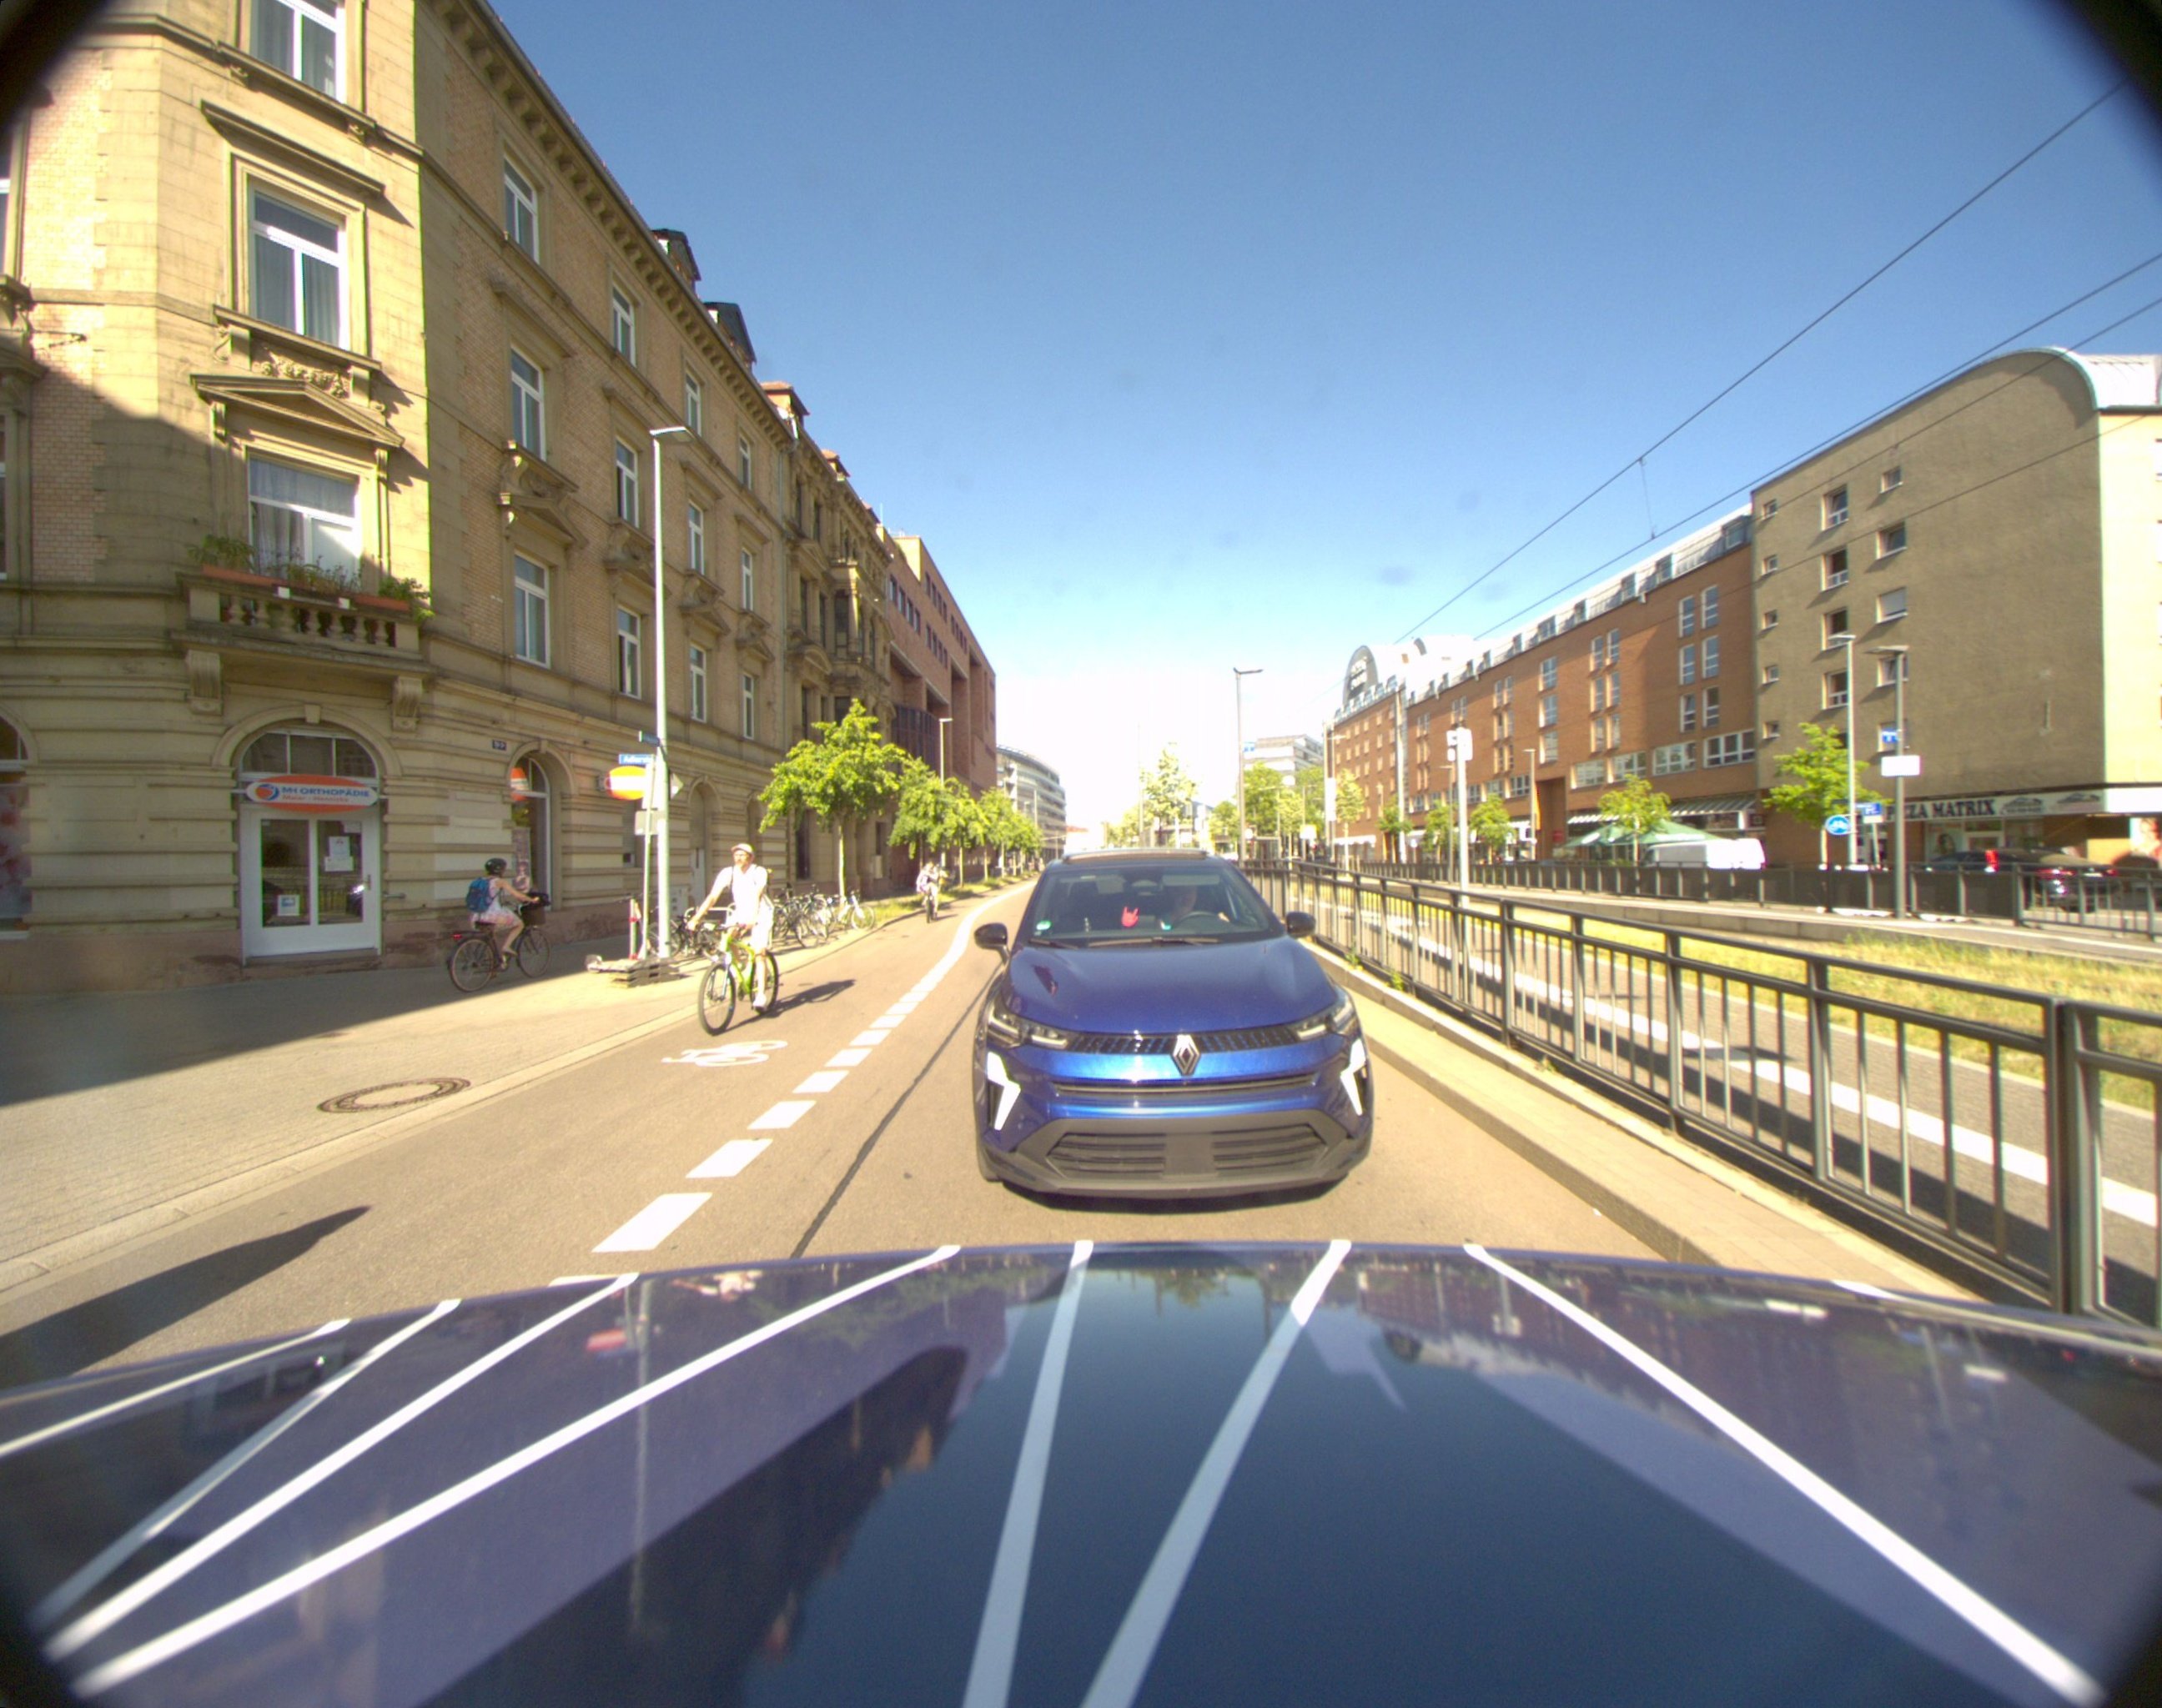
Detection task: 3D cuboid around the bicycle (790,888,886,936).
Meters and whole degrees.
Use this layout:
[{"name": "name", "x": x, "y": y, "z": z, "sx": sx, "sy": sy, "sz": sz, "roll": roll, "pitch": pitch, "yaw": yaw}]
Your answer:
[{"name": "bicycle", "x": -5.983, "y": 1.425, "z": 18.770, "sx": 2.062, "sy": 1.036, "sz": 0.847, "roll": 2, "pitch": 1, "yaw": 0}]

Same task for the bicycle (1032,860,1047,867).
[{"name": "bicycle", "x": -5.928, "y": 1.400, "z": 109.497, "sx": 2.042, "sy": 1.013, "sz": 0.646, "roll": -1, "pitch": 0, "yaw": 11}]

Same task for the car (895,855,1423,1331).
[{"name": "car", "x": 0.306, "y": 0.848, "z": 4.879, "sx": 1.758, "sy": 1.576, "sz": 4.420, "roll": -4, "pitch": 0, "yaw": 1}]

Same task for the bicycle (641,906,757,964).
[{"name": "bicycle", "x": -6.582, "y": 1.393, "z": 13.130, "sx": 1.717, "sy": 0.920, "sz": 0.497, "roll": -1, "pitch": 1, "yaw": 1}]

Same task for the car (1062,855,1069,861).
[{"name": "car", "x": -3.840, "y": 0.942, "z": 189.728, "sx": 1.745, "sy": 1.543, "sz": 4.000, "roll": -1, "pitch": 0, "yaw": 1}]

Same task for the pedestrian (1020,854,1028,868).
[{"name": "pedestrian", "x": -8.036, "y": 0.979, "z": 107.768, "sx": 0.880, "sy": 2.002, "sz": 0.764, "roll": -1, "pitch": 1, "yaw": 22}]

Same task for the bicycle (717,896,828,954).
[{"name": "bicycle", "x": -5.938, "y": 1.365, "z": 14.708, "sx": 1.876, "sy": 1.043, "sz": 0.608, "roll": 1, "pitch": 1, "yaw": -4}]

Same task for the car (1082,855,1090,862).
[{"name": "car", "x": 1.229, "y": 1.068, "z": 172.413, "sx": 1.745, "sy": 1.543, "sz": 4.000, "roll": -1, "pitch": 0, "yaw": 1}]

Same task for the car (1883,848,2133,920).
[{"name": "car", "x": 24.213, "y": 0.702, "z": 20.106, "sx": 1.699, "sy": 1.630, "sz": 3.999, "roll": -2, "pitch": 1, "yaw": -1}]

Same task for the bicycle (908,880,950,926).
[{"name": "bicycle", "x": -4.361, "y": 1.379, "z": 21.919, "sx": 0.725, "sy": 1.187, "sz": 1.952, "roll": -2, "pitch": 0, "yaw": 1}]

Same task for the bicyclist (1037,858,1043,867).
[{"name": "bicyclist", "x": -5.869, "y": 1.175, "z": 109.480, "sx": 0.740, "sy": 1.301, "sz": 0.638, "roll": -1, "pitch": 0, "yaw": 9}]

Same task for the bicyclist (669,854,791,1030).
[{"name": "bicyclist", "x": -3.520, "y": 0.841, "z": 7.700, "sx": 0.700, "sy": 1.647, "sz": 0.977, "roll": -2, "pitch": 0, "yaw": 1}]

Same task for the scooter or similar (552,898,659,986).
[{"name": "scooter or similar", "x": -6.851, "y": 1.260, "z": 10.981, "sx": 1.199, "sy": 1.191, "sz": 0.487, "roll": -1, "pitch": 0, "yaw": -4}]

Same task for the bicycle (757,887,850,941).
[{"name": "bicycle", "x": -6.312, "y": 1.358, "z": 17.368, "sx": 1.678, "sy": 1.055, "sz": 1.134, "roll": 3, "pitch": 1, "yaw": -1}]

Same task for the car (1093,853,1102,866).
[{"name": "car", "x": 3.513, "y": 1.145, "z": 159.373, "sx": 1.758, "sy": 2.471, "sz": 4.610, "roll": -1, "pitch": 0, "yaw": 1}]

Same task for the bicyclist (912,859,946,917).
[{"name": "bicyclist", "x": -4.378, "y": 0.965, "z": 21.993, "sx": 0.725, "sy": 1.595, "sz": 0.895, "roll": -2, "pitch": 0, "yaw": 1}]

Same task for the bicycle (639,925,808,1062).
[{"name": "bicycle", "x": -3.506, "y": 1.326, "z": 7.690, "sx": 0.725, "sy": 1.000, "sz": 1.952, "roll": -2, "pitch": 0, "yaw": 1}]

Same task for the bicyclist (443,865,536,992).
[{"name": "bicyclist", "x": -7.852, "y": 0.960, "z": 10.118, "sx": 0.579, "sy": 1.608, "sz": 0.794, "roll": -1, "pitch": 1, "yaw": -2}]

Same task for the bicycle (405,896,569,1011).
[{"name": "bicycle", "x": -7.857, "y": 1.252, "z": 10.199, "sx": 0.579, "sy": 1.246, "sz": 2.097, "roll": -1, "pitch": 1, "yaw": -2}]

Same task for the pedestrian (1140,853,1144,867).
[{"name": "pedestrian", "x": 8.078, "y": 0.843, "z": 101.265, "sx": 0.482, "sy": 1.878, "sz": 0.503, "roll": -1, "pitch": 1, "yaw": 1}]

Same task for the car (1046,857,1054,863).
[{"name": "car", "x": -7.059, "y": 1.368, "z": 174.281, "sx": 1.745, "sy": 1.543, "sz": 4.000, "roll": -1, "pitch": 0, "yaw": 0}]

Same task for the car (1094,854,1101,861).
[{"name": "car", "x": 4.021, "y": 0.805, "z": 186.307, "sx": 1.745, "sy": 1.543, "sz": 4.000, "roll": -1, "pitch": 0, "yaw": 0}]

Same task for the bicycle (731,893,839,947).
[{"name": "bicycle", "x": -6.272, "y": 1.384, "z": 16.222, "sx": 1.903, "sy": 1.024, "sz": 1.030, "roll": 1, "pitch": 1, "yaw": -2}]

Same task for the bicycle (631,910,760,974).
[{"name": "bicycle", "x": -6.332, "y": 1.430, "z": 12.497, "sx": 1.905, "sy": 0.906, "sz": 0.592, "roll": 1, "pitch": 2, "yaw": 9}]

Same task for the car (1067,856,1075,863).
[{"name": "car", "x": -2.207, "y": 1.189, "z": 173.697, "sx": 1.745, "sy": 1.543, "sz": 4.000, "roll": -1, "pitch": 0, "yaw": 1}]

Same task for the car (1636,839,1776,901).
[{"name": "car", "x": 25.336, "y": 0.564, "z": 31.100, "sx": 1.997, "sy": 2.283, "sz": 5.192, "roll": -2, "pitch": 1, "yaw": 9}]
